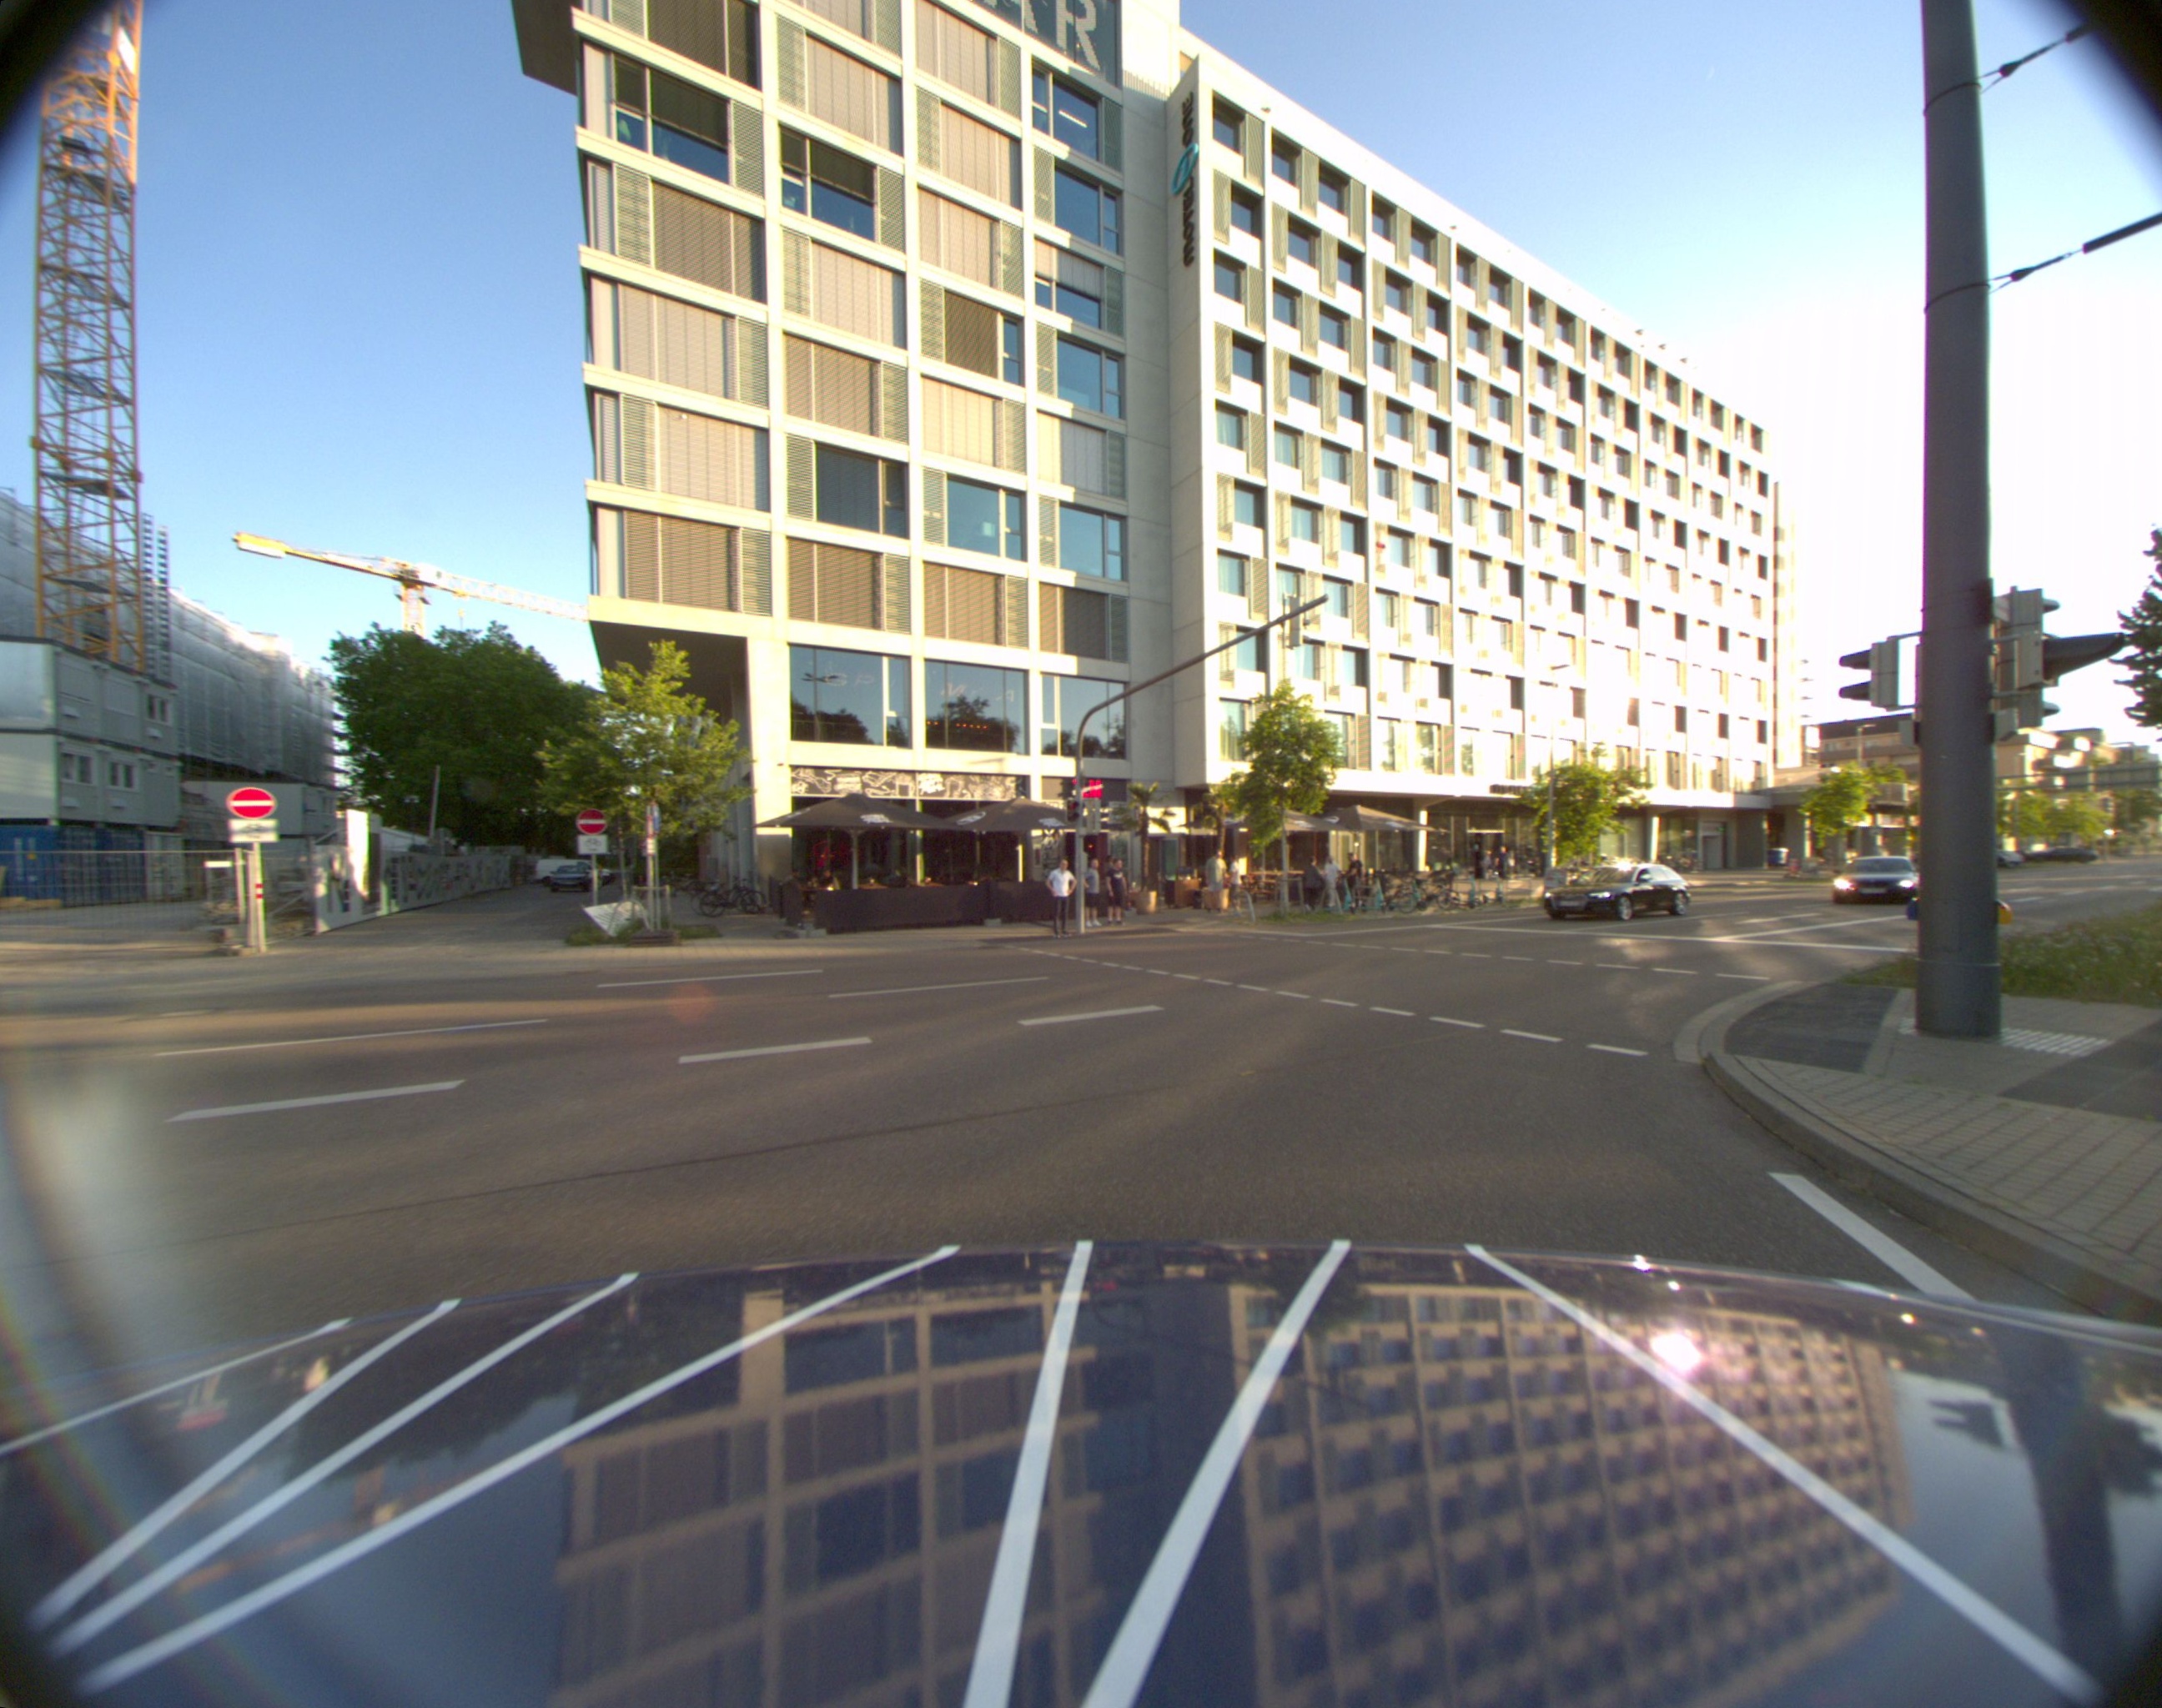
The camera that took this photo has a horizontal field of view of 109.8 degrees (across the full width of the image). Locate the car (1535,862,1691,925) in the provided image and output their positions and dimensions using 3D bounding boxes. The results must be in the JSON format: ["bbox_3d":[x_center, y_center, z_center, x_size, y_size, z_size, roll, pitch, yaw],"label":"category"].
[{"bbox_3d":[14.322,0.986,20.398,4.231,1.431,1.887,-1,1,-31],"label":"car"}]

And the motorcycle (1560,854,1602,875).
[{"bbox_3d":[27.936,0.583,42.479,0.517,1.165,1.892,-1,2,-45],"label":"motorcycle"}]

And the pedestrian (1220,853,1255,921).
[{"bbox_3d":[4.569,0.936,22.171,0.709,1.913,0.679,-1,3,-27],"label":"pedestrian"}]

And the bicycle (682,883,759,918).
[{"bbox_3d":[-10.563,1.353,22.317,1.981,0.869,0.394,-3,4,-31],"label":"bicycle"}]

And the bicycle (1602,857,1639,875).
[{"bbox_3d":[31.333,0.690,44.167,0.422,1.014,1.743,-1,1,-33],"label":"bicycle"}]

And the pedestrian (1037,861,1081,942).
[{"bbox_3d":[-0.520,1.091,17.901,0.764,1.826,0.706,-1,3,-31],"label":"pedestrian"}]

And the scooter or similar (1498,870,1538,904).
[{"bbox_3d":[15.410,1.151,26.824,0.338,1.052,1.182,-3,6,-29],"label":"scooter or similar"}]

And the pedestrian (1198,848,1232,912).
[{"bbox_3d":[4.099,0.771,23.209,0.709,1.913,0.679,-1,3,-29],"label":"pedestrian"}]

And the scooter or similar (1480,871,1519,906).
[{"bbox_3d":[14.456,1.168,26.285,0.338,1.157,1.183,-1,1,-29],"label":"scooter or similar"}]

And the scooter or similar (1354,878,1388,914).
[{"bbox_3d":[8.890,1.277,23.293,0.292,1.028,1.007,1,0,-29],"label":"scooter or similar"}]

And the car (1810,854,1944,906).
[{"bbox_3d":[25.370,0.792,24.174,4.809,1.432,2.017,-1,-1,-33],"label":"car"}]

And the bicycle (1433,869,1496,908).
[{"bbox_3d":[13.016,1.155,25.848,0.443,1.192,1.910,-1,2,-33],"label":"bicycle"}]

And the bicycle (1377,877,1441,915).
[{"bbox_3d":[10.334,1.296,23.987,0.443,1.053,1.910,-1,2,-33],"label":"bicycle"}]

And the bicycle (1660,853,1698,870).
[{"bbox_3d":[37.255,0.448,47.343,0.422,1.014,1.788,-1,1,-33],"label":"bicycle"}]

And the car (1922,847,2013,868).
[{"bbox_3d":[67.889,0.228,58.285,4.121,1.428,1.828,1,2,21],"label":"car"}]

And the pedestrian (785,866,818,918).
[{"bbox_3d":[-8.121,1.090,22.080,0.774,1.454,0.604,-1,1,-30],"label":"pedestrian"}]

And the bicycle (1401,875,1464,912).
[{"bbox_3d":[11.391,1.251,24.698,0.443,1.053,1.910,-1,2,-33],"label":"bicycle"}]

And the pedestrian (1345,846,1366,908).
[{"bbox_3d":[8.889,0.738,24.595,0.551,2.002,0.503,-1,1,12],"label":"pedestrian"}]

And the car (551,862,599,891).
[{"bbox_3d":[-29.491,1.263,44.365,2.012,1.588,3.697,-1,0,-29],"label":"car"}]

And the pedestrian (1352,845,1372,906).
[{"bbox_3d":[9.321,0.691,25.223,0.551,2.002,0.503,-1,1,12],"label":"pedestrian"}]

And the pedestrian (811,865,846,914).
[{"bbox_3d":[-7.570,1.053,22.778,0.604,1.406,0.774,0,1,44],"label":"pedestrian"}]

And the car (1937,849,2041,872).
[{"bbox_3d":[64.518,0.442,54.085,4.275,1.581,2.012,0,1,20],"label":"car"}]

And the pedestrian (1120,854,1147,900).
[{"bbox_3d":[1.826,0.785,26.690,0.709,1.594,0.679,-1,1,-23],"label":"pedestrian"}]

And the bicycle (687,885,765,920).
[{"bbox_3d":[-10.060,1.366,21.572,1.981,0.869,0.394,-2,3,-31],"label":"bicycle"}]

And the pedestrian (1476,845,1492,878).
[{"bbox_3d":[20.423,0.384,38.505,0.517,1.647,0.429,-1,3,-29],"label":"pedestrian"}]

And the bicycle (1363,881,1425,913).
[{"bbox_3d":[9.756,1.333,23.770,0.443,0.865,1.865,-1,2,-33],"label":"bicycle"}]

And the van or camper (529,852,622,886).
[{"bbox_3d":[-36.552,1.065,55.071,4.956,2.111,2.488,-3,1,-16],"label":"van or camper"}]

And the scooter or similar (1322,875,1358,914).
[{"bbox_3d":[7.810,1.221,22.946,0.338,1.079,0.972,2,2,-29],"label":"scooter or similar"}]

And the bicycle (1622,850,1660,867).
[{"bbox_3d":[33.623,0.282,45.631,0.422,1.014,1.788,-1,1,-33],"label":"bicycle"}]

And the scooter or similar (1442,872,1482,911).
[{"bbox_3d":[12.661,1.229,25.275,0.338,1.210,1.183,-1,1,-29],"label":"scooter or similar"}]

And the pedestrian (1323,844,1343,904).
[{"bbox_3d":[8.399,0.667,25.358,0.551,2.002,0.503,-1,1,12],"label":"pedestrian"}]

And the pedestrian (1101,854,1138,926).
[{"bbox_3d":[1.026,0.935,20.177,0.682,1.826,0.706,-4,5,-31],"label":"pedestrian"}]
